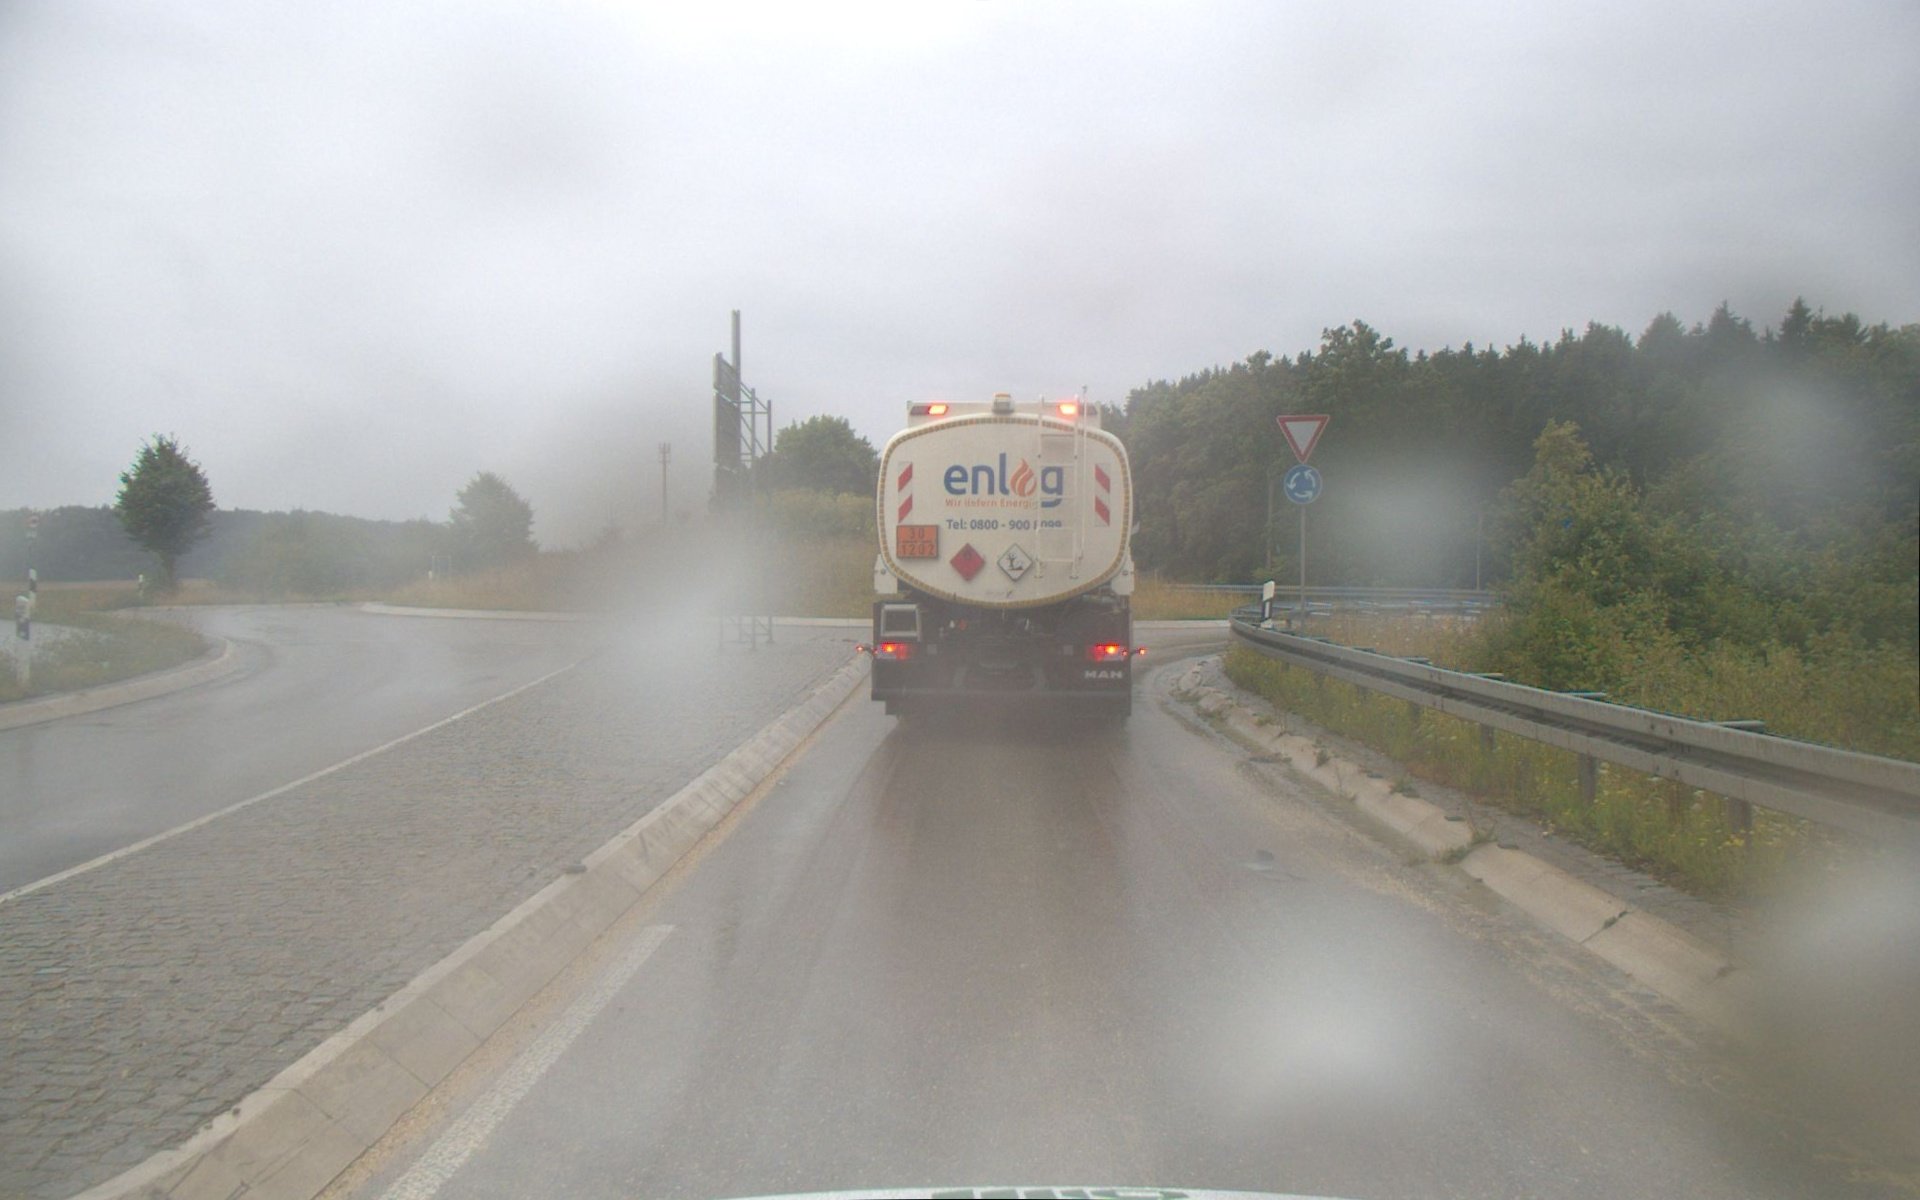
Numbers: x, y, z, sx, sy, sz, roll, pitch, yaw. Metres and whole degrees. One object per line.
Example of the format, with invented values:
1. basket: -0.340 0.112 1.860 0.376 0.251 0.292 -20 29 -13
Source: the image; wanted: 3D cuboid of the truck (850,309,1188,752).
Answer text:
1. truck: 0.787 -0.699 19.192 2.975 3.919 8.827 1 1 3
